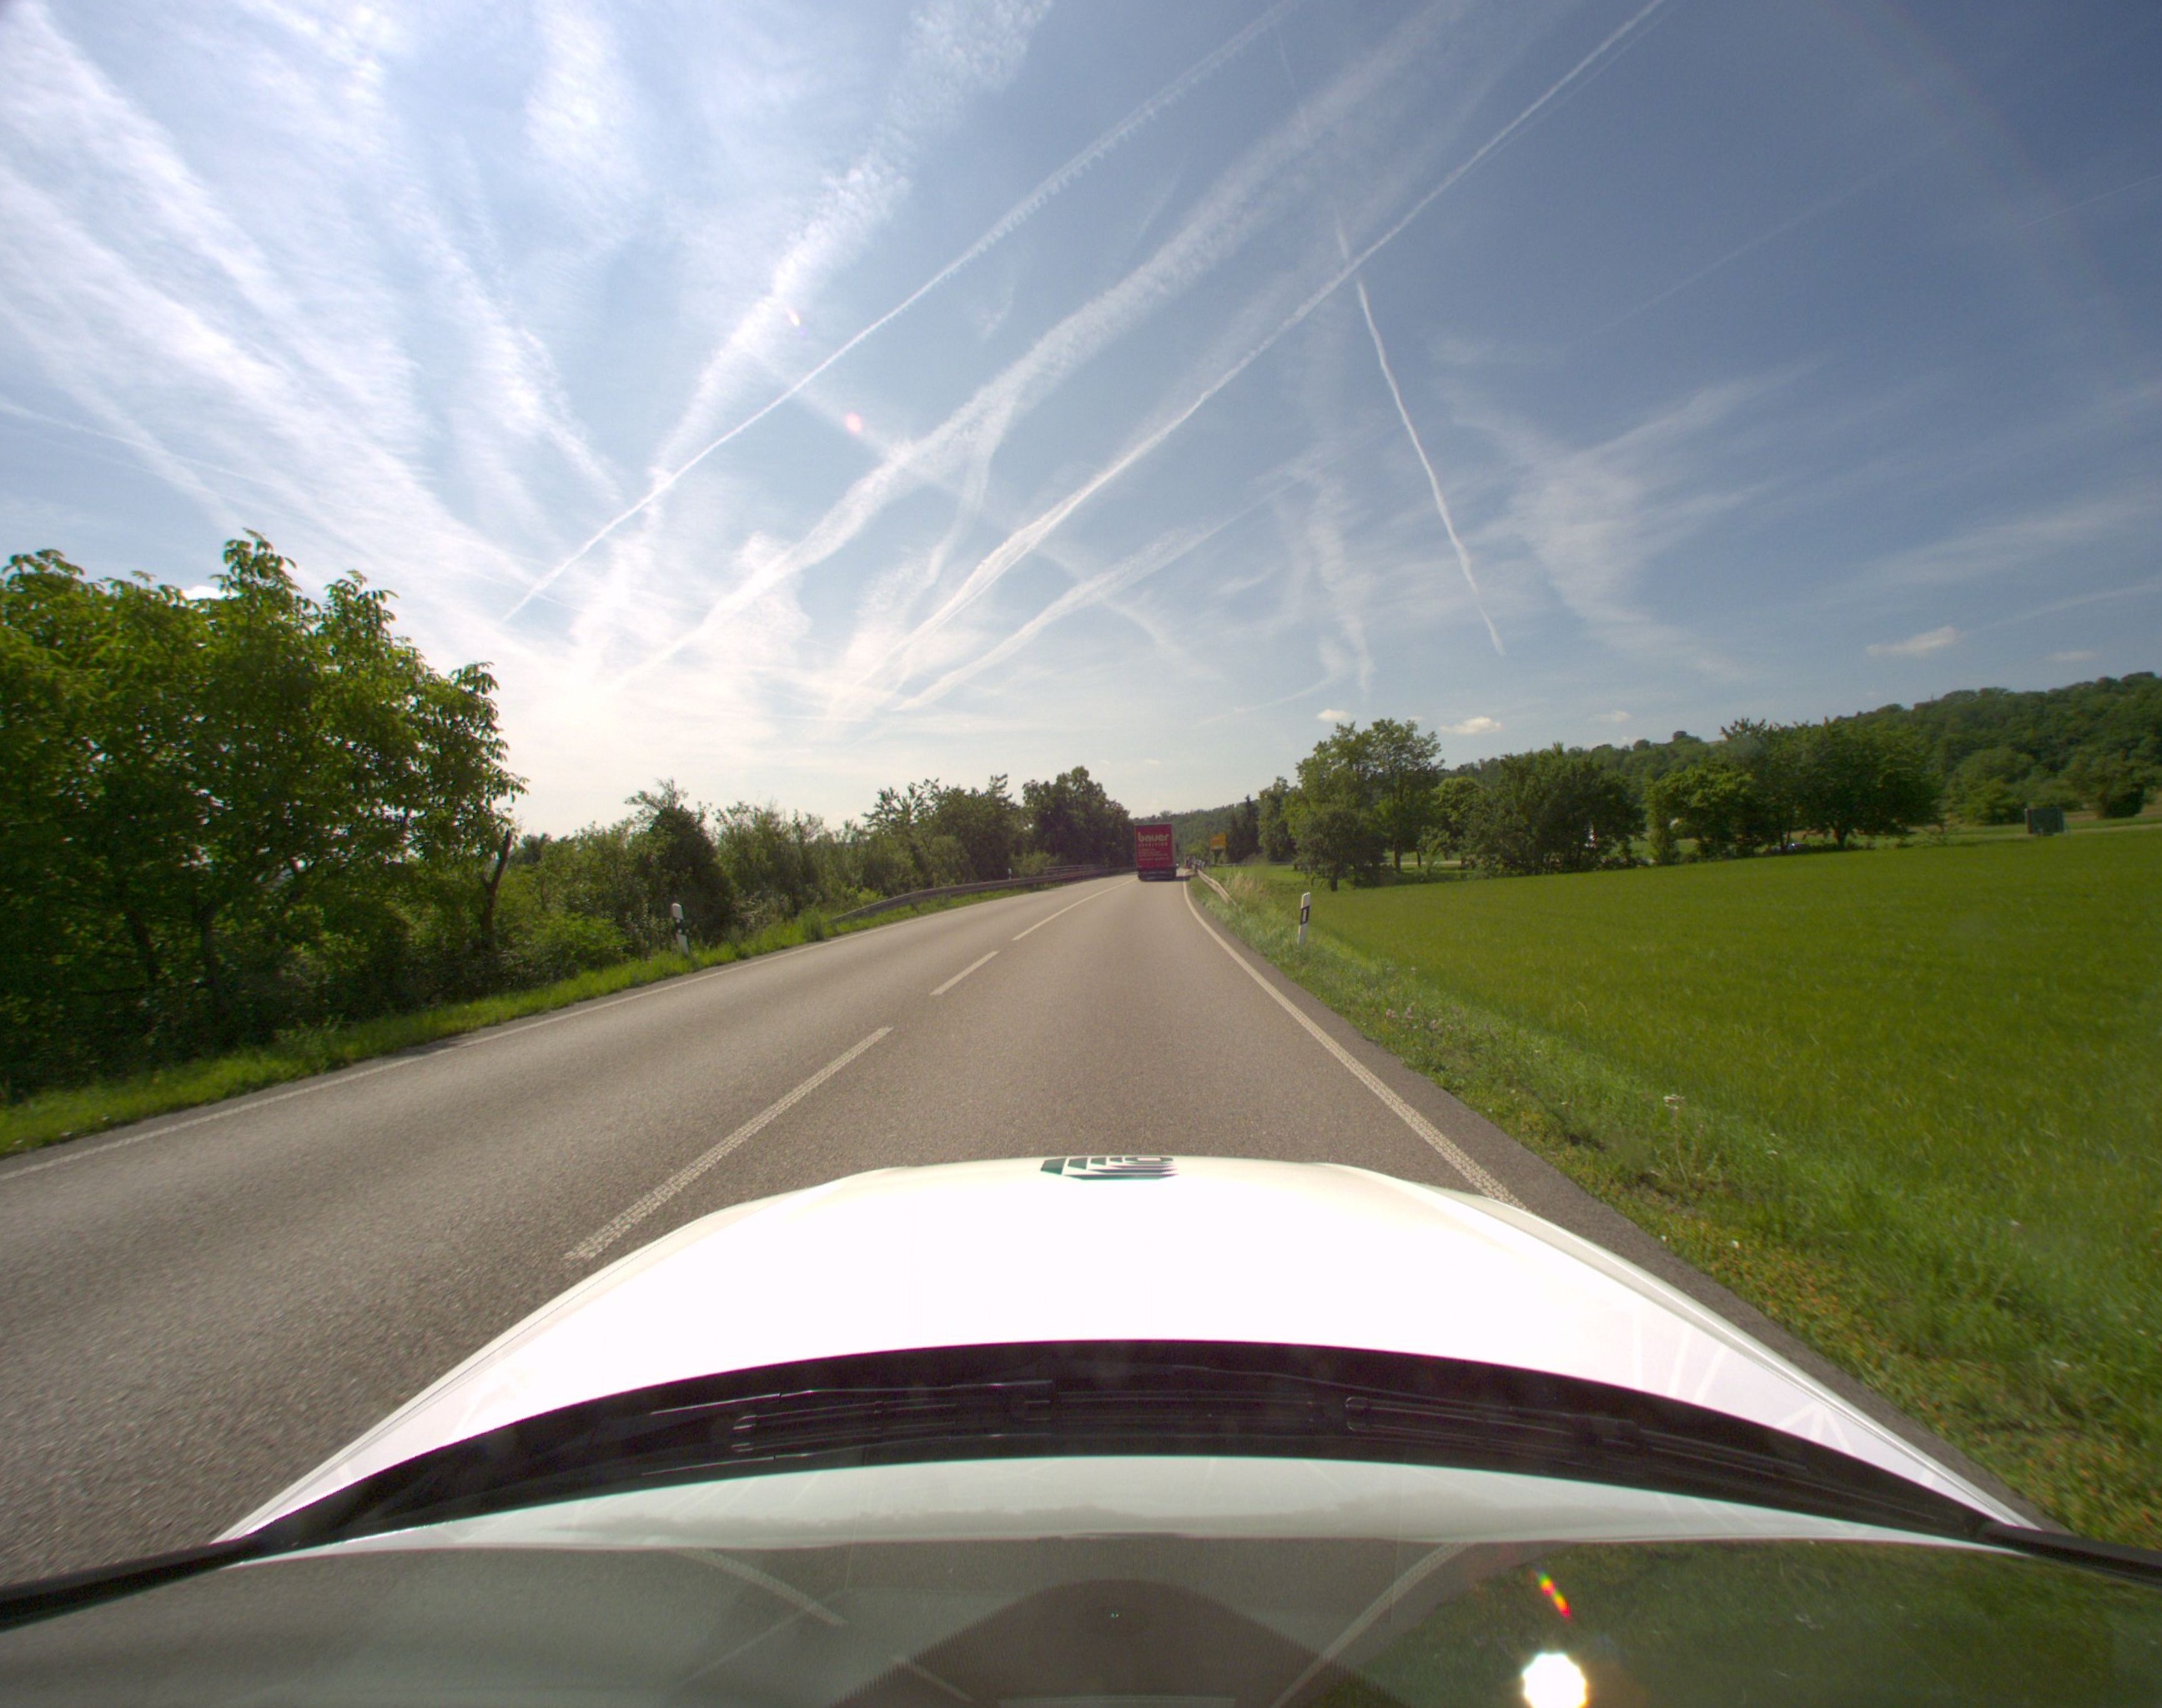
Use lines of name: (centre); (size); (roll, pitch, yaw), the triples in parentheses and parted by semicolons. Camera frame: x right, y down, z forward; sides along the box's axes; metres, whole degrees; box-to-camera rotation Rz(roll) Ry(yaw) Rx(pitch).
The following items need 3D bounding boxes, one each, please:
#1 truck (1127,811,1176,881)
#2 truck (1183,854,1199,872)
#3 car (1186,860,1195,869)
truck: (5.518, -0.488, 61.892); (3.156, 4.625, 13.566); (-2, 0, 6)
truck: (27.946, 2.324, 206.367); (3.883, 4.370, 13.321); (0, -2, 8)
car: (23.581, 2.231, 175.247); (1.982, 1.810, 4.009); (1, -2, 8)
